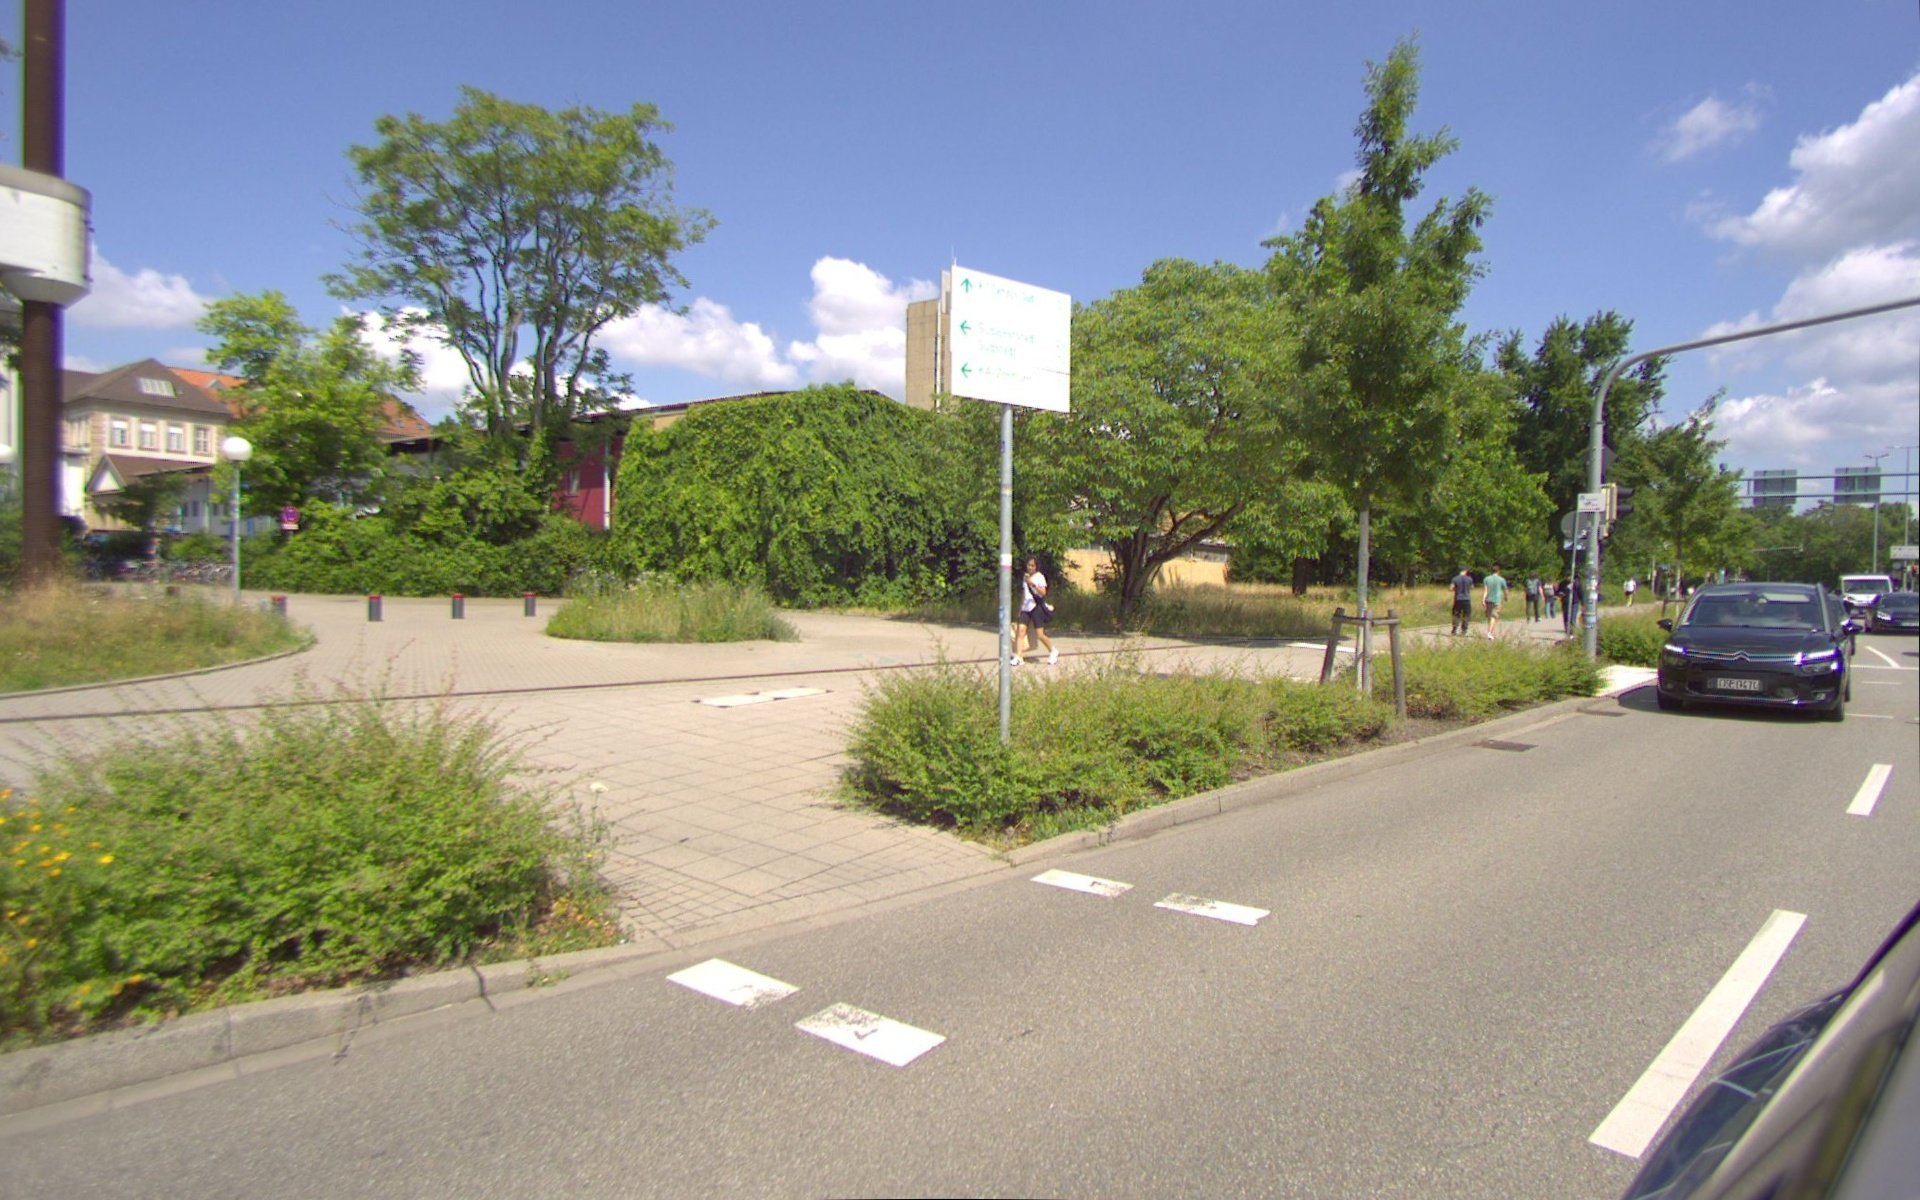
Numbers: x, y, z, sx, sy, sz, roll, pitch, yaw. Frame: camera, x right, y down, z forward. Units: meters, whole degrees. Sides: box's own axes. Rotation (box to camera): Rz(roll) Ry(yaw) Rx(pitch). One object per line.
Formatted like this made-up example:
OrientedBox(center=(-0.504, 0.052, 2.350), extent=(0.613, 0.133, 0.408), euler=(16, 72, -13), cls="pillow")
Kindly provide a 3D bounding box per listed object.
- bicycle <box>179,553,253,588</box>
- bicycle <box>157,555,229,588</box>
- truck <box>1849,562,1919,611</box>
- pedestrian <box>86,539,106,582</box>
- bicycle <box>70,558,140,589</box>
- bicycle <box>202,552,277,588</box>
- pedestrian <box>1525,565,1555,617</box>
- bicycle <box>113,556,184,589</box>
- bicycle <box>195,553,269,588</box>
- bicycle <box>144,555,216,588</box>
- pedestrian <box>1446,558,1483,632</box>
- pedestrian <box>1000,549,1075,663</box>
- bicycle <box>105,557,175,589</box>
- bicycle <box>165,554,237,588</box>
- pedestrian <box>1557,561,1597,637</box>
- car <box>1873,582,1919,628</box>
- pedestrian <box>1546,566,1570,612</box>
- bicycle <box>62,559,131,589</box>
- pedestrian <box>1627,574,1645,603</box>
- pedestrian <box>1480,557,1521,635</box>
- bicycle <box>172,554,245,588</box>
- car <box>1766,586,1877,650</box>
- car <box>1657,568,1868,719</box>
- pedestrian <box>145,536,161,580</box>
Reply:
OrientedBox(center=(-30.296, -1.187, 41.245), extent=(0.633, 1.364, 2.343), euler=(0, 1, 31), cls="bicycle")
OrientedBox(center=(-32.066, -1.192, 42.334), extent=(0.633, 1.364, 2.343), euler=(0, 1, 31), cls="bicycle")
OrientedBox(center=(46.990, -0.657, 51.431), extent=(2.451, 2.330, 5.733), euler=(-1, 0, 39), cls="truck")
OrientedBox(center=(-38.405, -1.741, 44.985), extent=(0.491, 1.873, 0.502), euler=(0, 1, 29), cls="pedestrian")
OrientedBox(center=(-38.861, -1.197, 46.021), extent=(0.633, 1.364, 2.343), euler=(0, 1, 31), cls="bicycle")
OrientedBox(center=(-28.535, -1.182, 40.112), extent=(0.633, 1.364, 2.343), euler=(0, 1, 31), cls="bicycle")
OrientedBox(center=(20.076, -0.312, 35.051), extent=(0.748, 1.771, 0.658), euler=(3, 2, 39), cls="pedestrian")
OrientedBox(center=(-35.408, -1.195, 44.187), extent=(0.633, 1.364, 2.343), euler=(0, 1, 31), cls="bicycle")
OrientedBox(center=(-29.093, -1.184, 40.469), extent=(0.633, 1.364, 2.343), euler=(0, 1, 31), cls="bicycle")
OrientedBox(center=(-33.124, -1.195, 43.017), extent=(0.633, 1.364, 2.343), euler=(0, 1, 31), cls="bicycle")
OrientedBox(center=(12.322, -0.133, 24.706), extent=(0.664, 1.768, 0.602), euler=(3, 2, 33), cls="pedestrian")
OrientedBox(center=(1.163, 0.069, 15.086), extent=(0.746, 1.616, 0.872), euler=(3, 2, 31), cls="pedestrian")
OrientedBox(center=(-36.166, -1.197, 44.661), extent=(0.633, 1.364, 2.343), euler=(0, 1, 31), cls="bicycle")
OrientedBox(center=(-31.475, -1.191, 42.004), extent=(0.633, 1.364, 2.343), euler=(0, 1, 31), cls="bicycle")
OrientedBox(center=(15.013, -0.035, 24.613), extent=(0.665, 1.771, 0.836), euler=(3, 2, 38), cls="pedestrian")
OrientedBox(center=(32.724, 0.148, 34.765), extent=(1.744, 1.523, 4.456), euler=(-1, 0, 39), cls="car")
OrientedBox(center=(23.625, -0.426, 39.979), extent=(0.665, 1.771, 0.866), euler=(3, 2, 38), cls="pedestrian")
OrientedBox(center=(-39.631, -1.199, 46.496), extent=(0.633, 1.364, 2.343), euler=(0, 1, 31), cls="bicycle")
OrientedBox(center=(41.441, -0.722, 62.022), extent=(0.840, 1.787, 0.830), euler=(0, 1, 39), cls="pedestrian")
OrientedBox(center=(13.041, -0.105, 24.415), extent=(0.747, 1.799, 0.871), euler=(3, 2, 33), cls="pedestrian")
OrientedBox(center=(-30.861, -1.189, 41.619), extent=(0.633, 1.364, 2.343), euler=(0, 1, 31), cls="bicycle")
OrientedBox(center=(20.967, 0.391, 24.790), extent=(1.756, 1.435, 4.306), euler=(-1, 0, 37), cls="car")
OrientedBox(center=(10.653, 0.466, 13.300), extent=(1.857, 1.643, 4.451), euler=(-1, 0, 42), cls="car")
OrientedBox(center=(-34.198, -1.771, 42.886), extent=(0.361, 1.873, 0.412), euler=(0, 1, 32), cls="pedestrian")
